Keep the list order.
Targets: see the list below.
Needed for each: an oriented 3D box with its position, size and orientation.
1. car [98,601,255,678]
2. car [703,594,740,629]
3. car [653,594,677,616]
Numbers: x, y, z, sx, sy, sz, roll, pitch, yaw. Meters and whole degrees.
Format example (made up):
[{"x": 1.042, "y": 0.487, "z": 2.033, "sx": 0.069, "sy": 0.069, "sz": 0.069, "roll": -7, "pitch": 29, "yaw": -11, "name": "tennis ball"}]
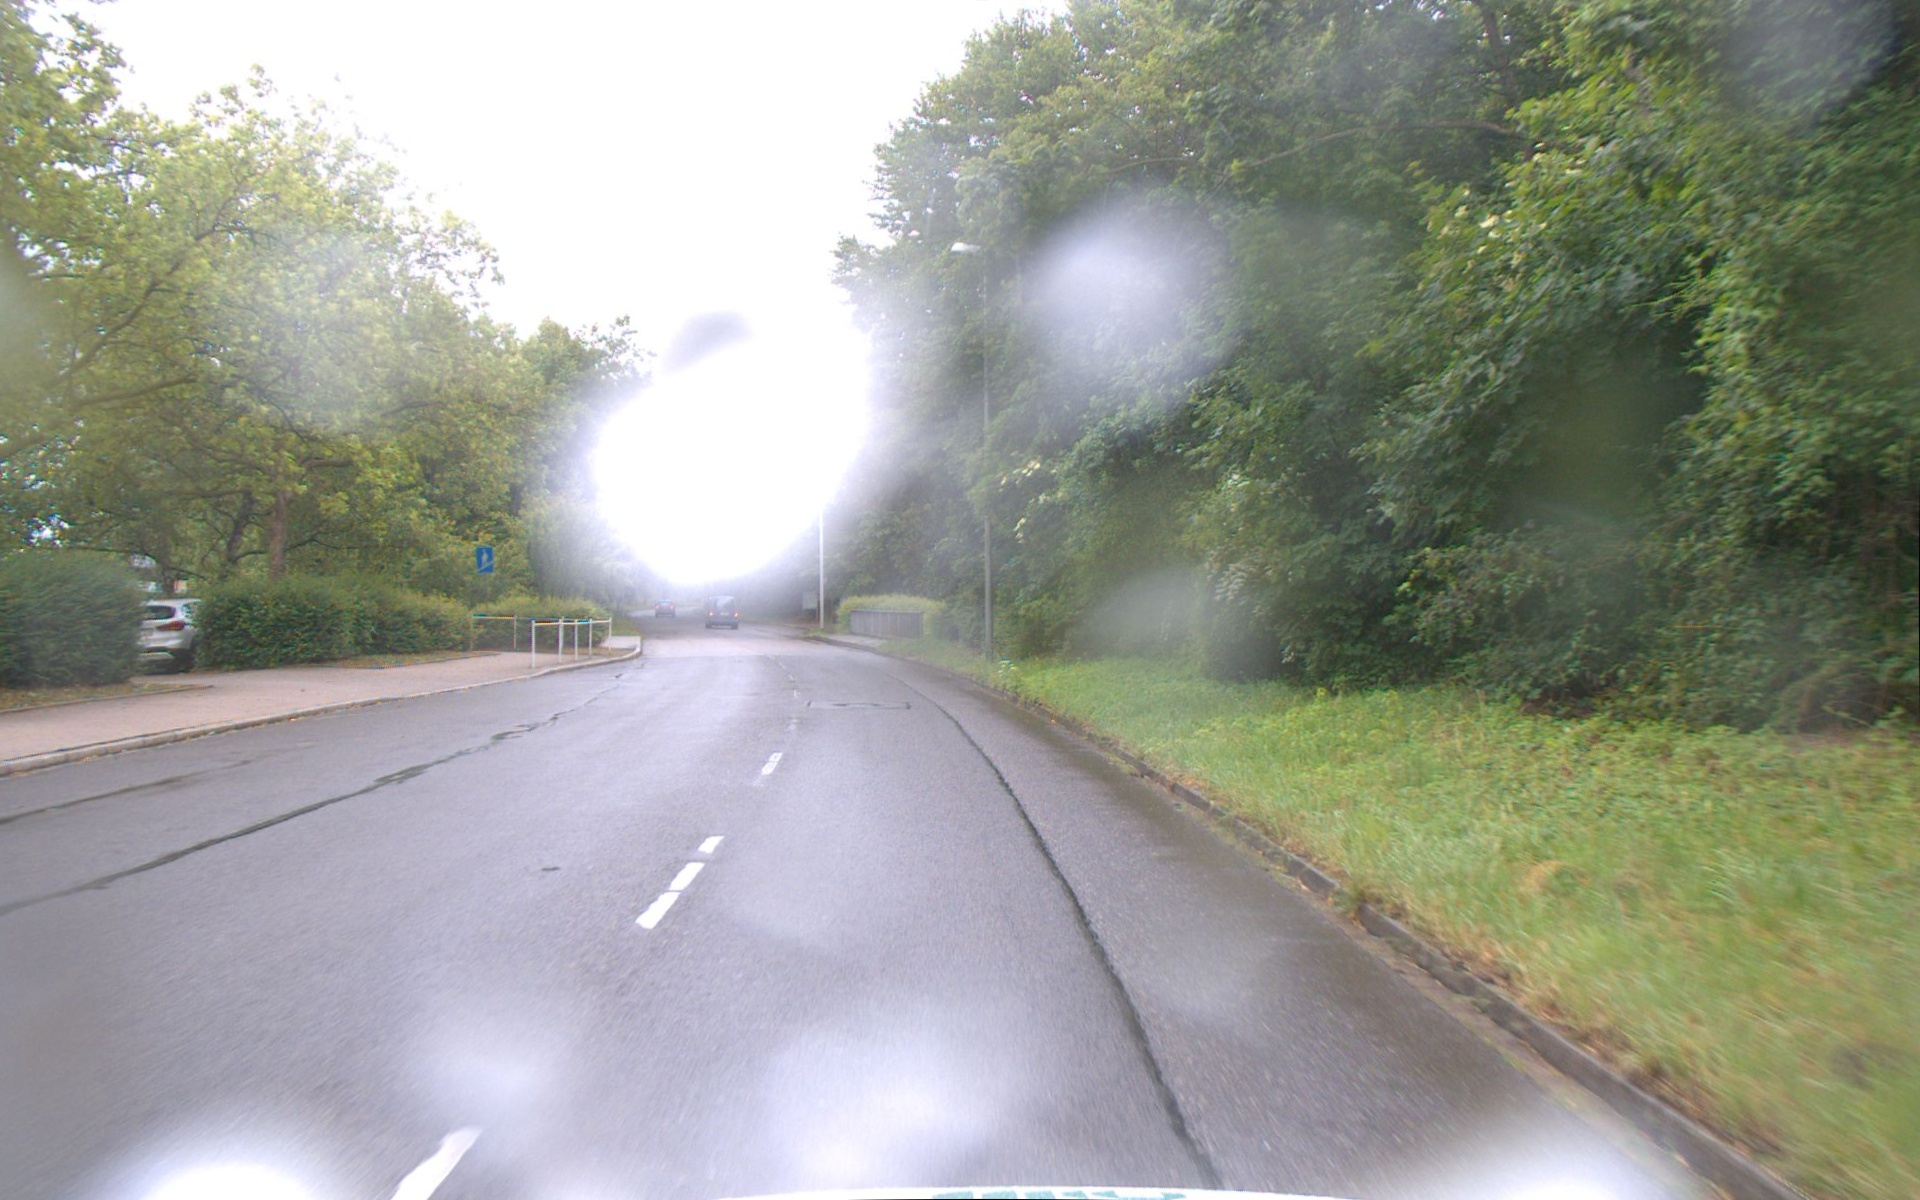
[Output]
[{"x": -17.477, "y": 0.831, "z": 37.101, "sx": 1.759, "sy": 1.536, "sz": 3.997, "roll": -3, "pitch": 0, "yaw": -4, "name": "car"}, {"x": -13.883, "y": 0.648, "z": 96.187, "sx": 1.950, "sy": 1.959, "sz": 3.989, "roll": 0, "pitch": 0, "yaw": -11, "name": "car"}, {"x": -25.926, "y": 0.447, "z": 145.328, "sx": 1.958, "sy": 1.848, "sz": 3.988, "roll": 1, "pitch": -1, "yaw": -12, "name": "car"}]
